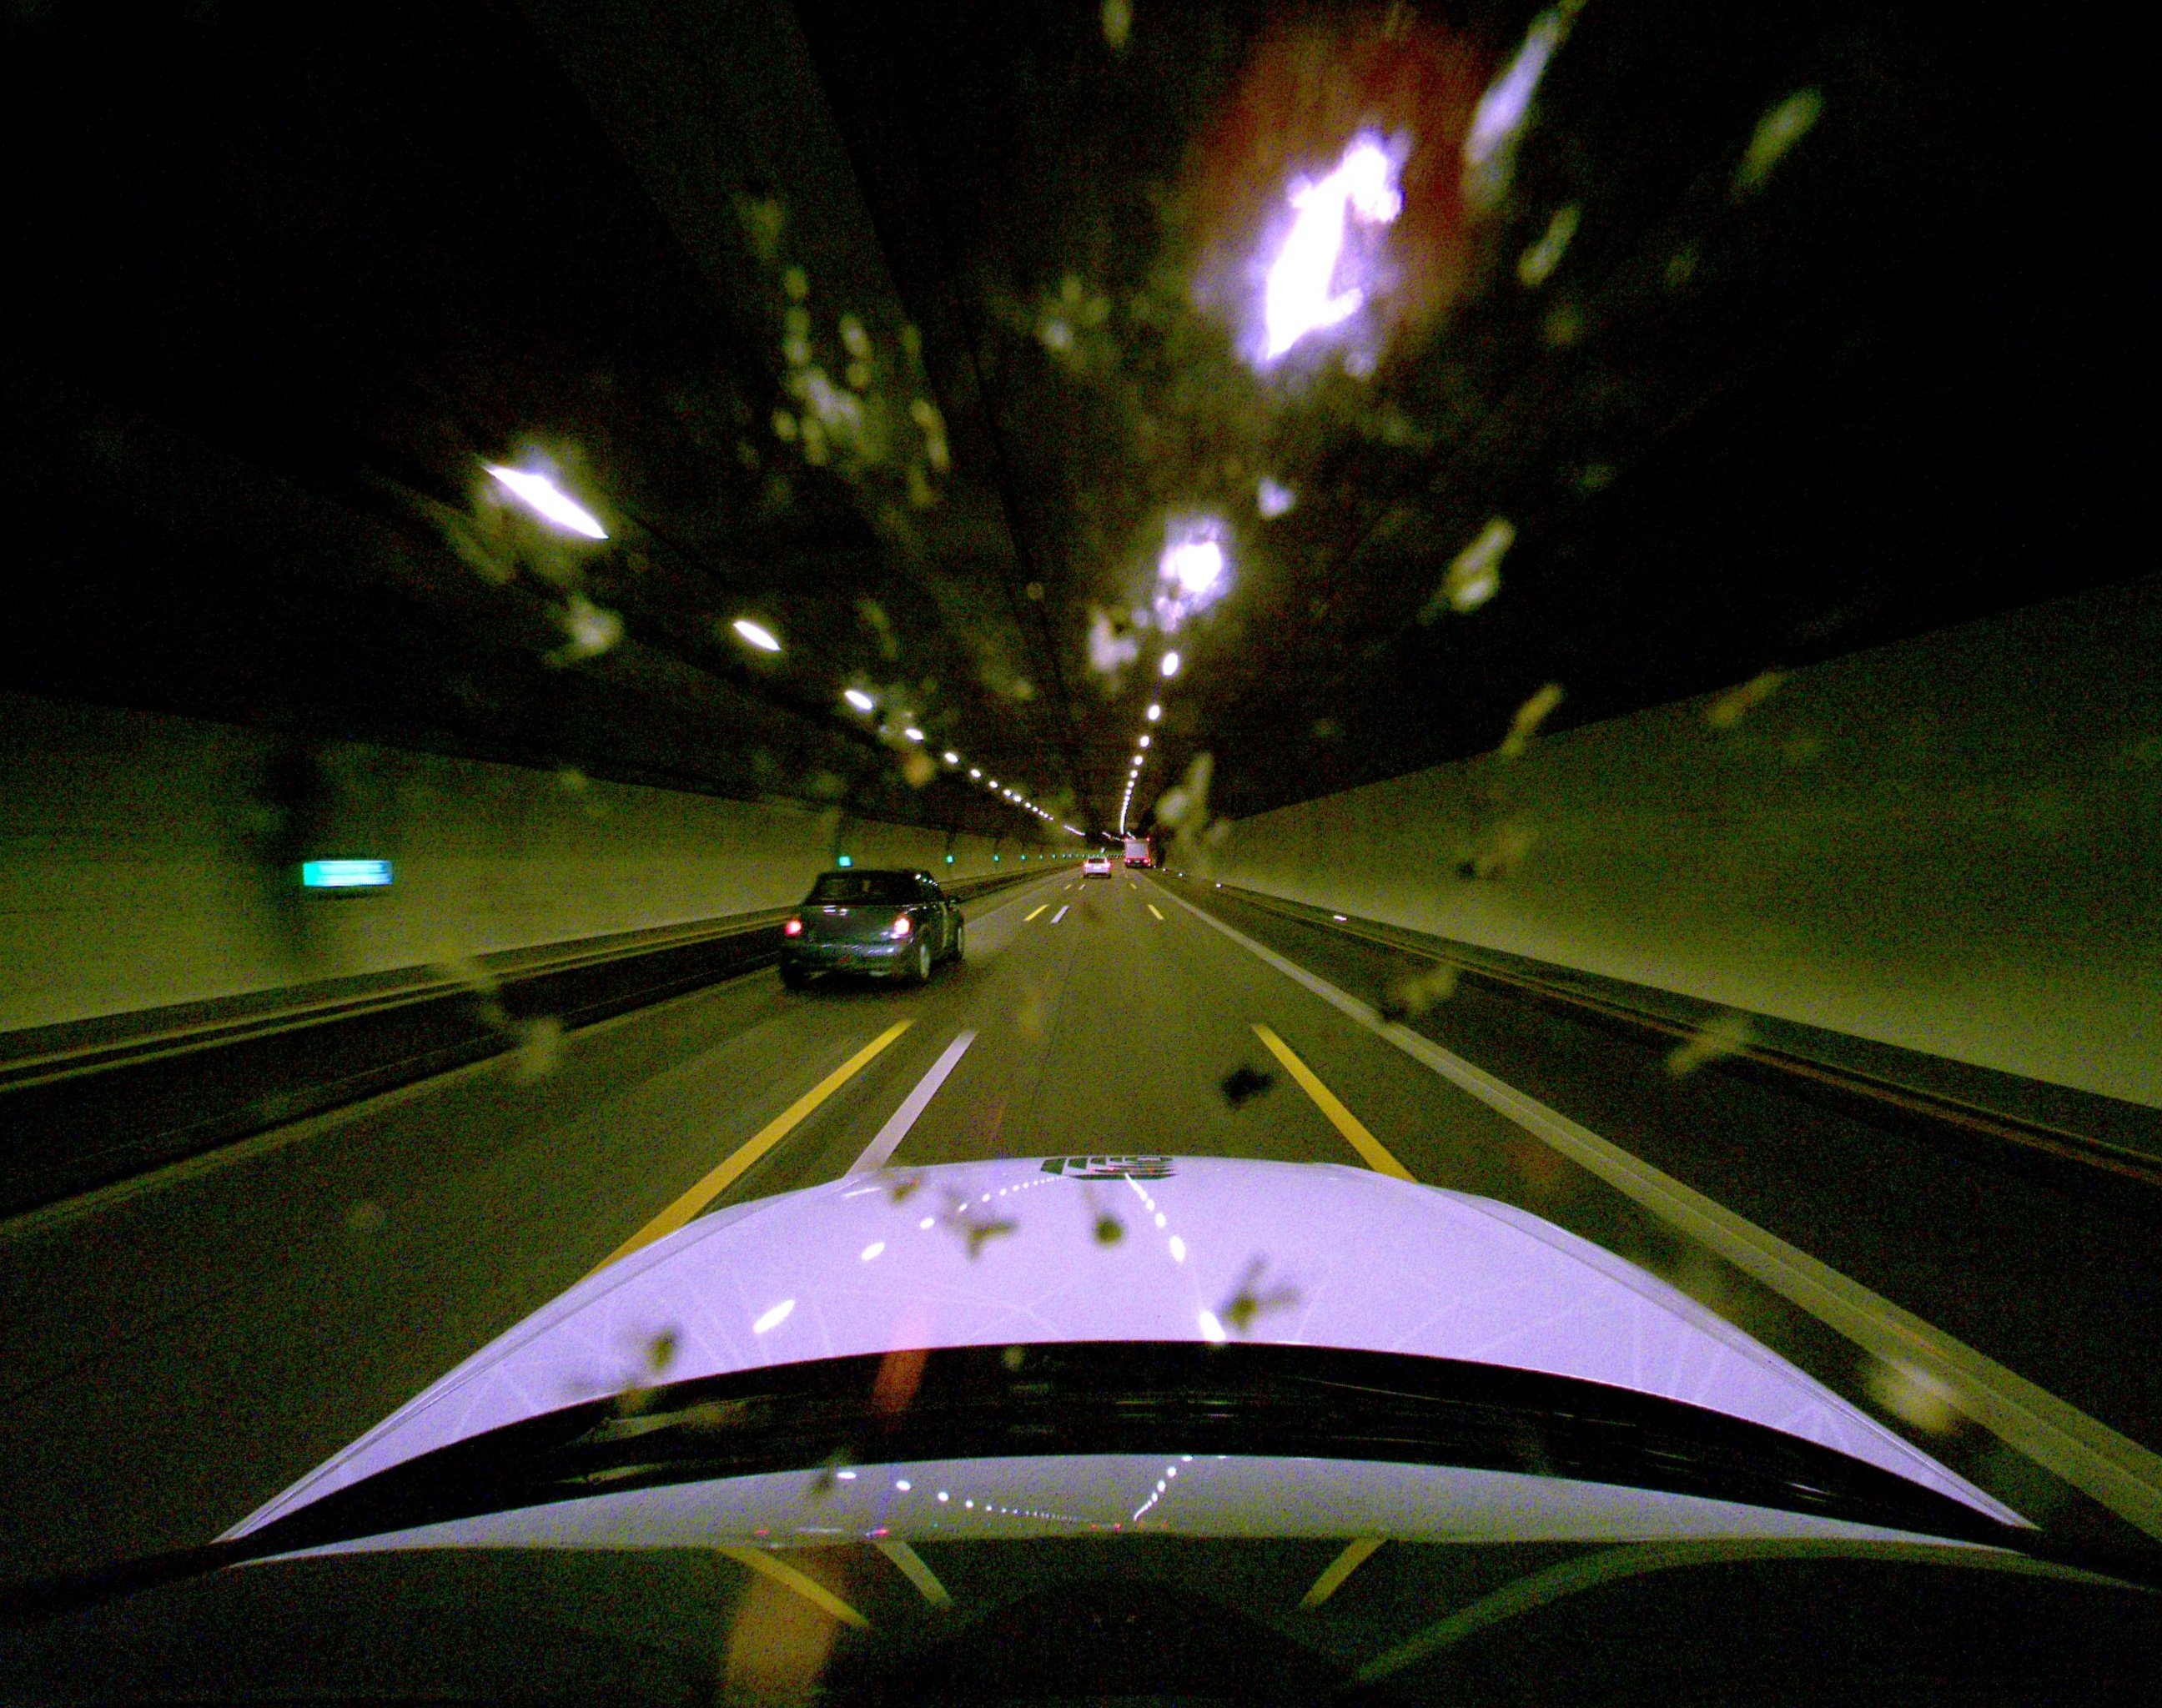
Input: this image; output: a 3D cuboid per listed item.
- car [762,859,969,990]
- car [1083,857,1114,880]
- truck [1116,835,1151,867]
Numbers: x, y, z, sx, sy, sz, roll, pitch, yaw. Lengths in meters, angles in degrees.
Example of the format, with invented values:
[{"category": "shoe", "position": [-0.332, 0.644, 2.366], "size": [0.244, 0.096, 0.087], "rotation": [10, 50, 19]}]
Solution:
[{"category": "car", "position": [-2.659, 0.798, 10.982], "size": [1.683, 1.417, 3.923], "rotation": [0, 0, 1]}, {"category": "car", "position": [1.159, 0.940, 54.810], "size": [1.987, 1.413, 4.743], "rotation": [-1, 0, 1]}, {"category": "truck", "position": [6.178, -0.322, 97.173], "size": [3.580, 3.650, 10.722], "rotation": [-1, 0, 1]}]
